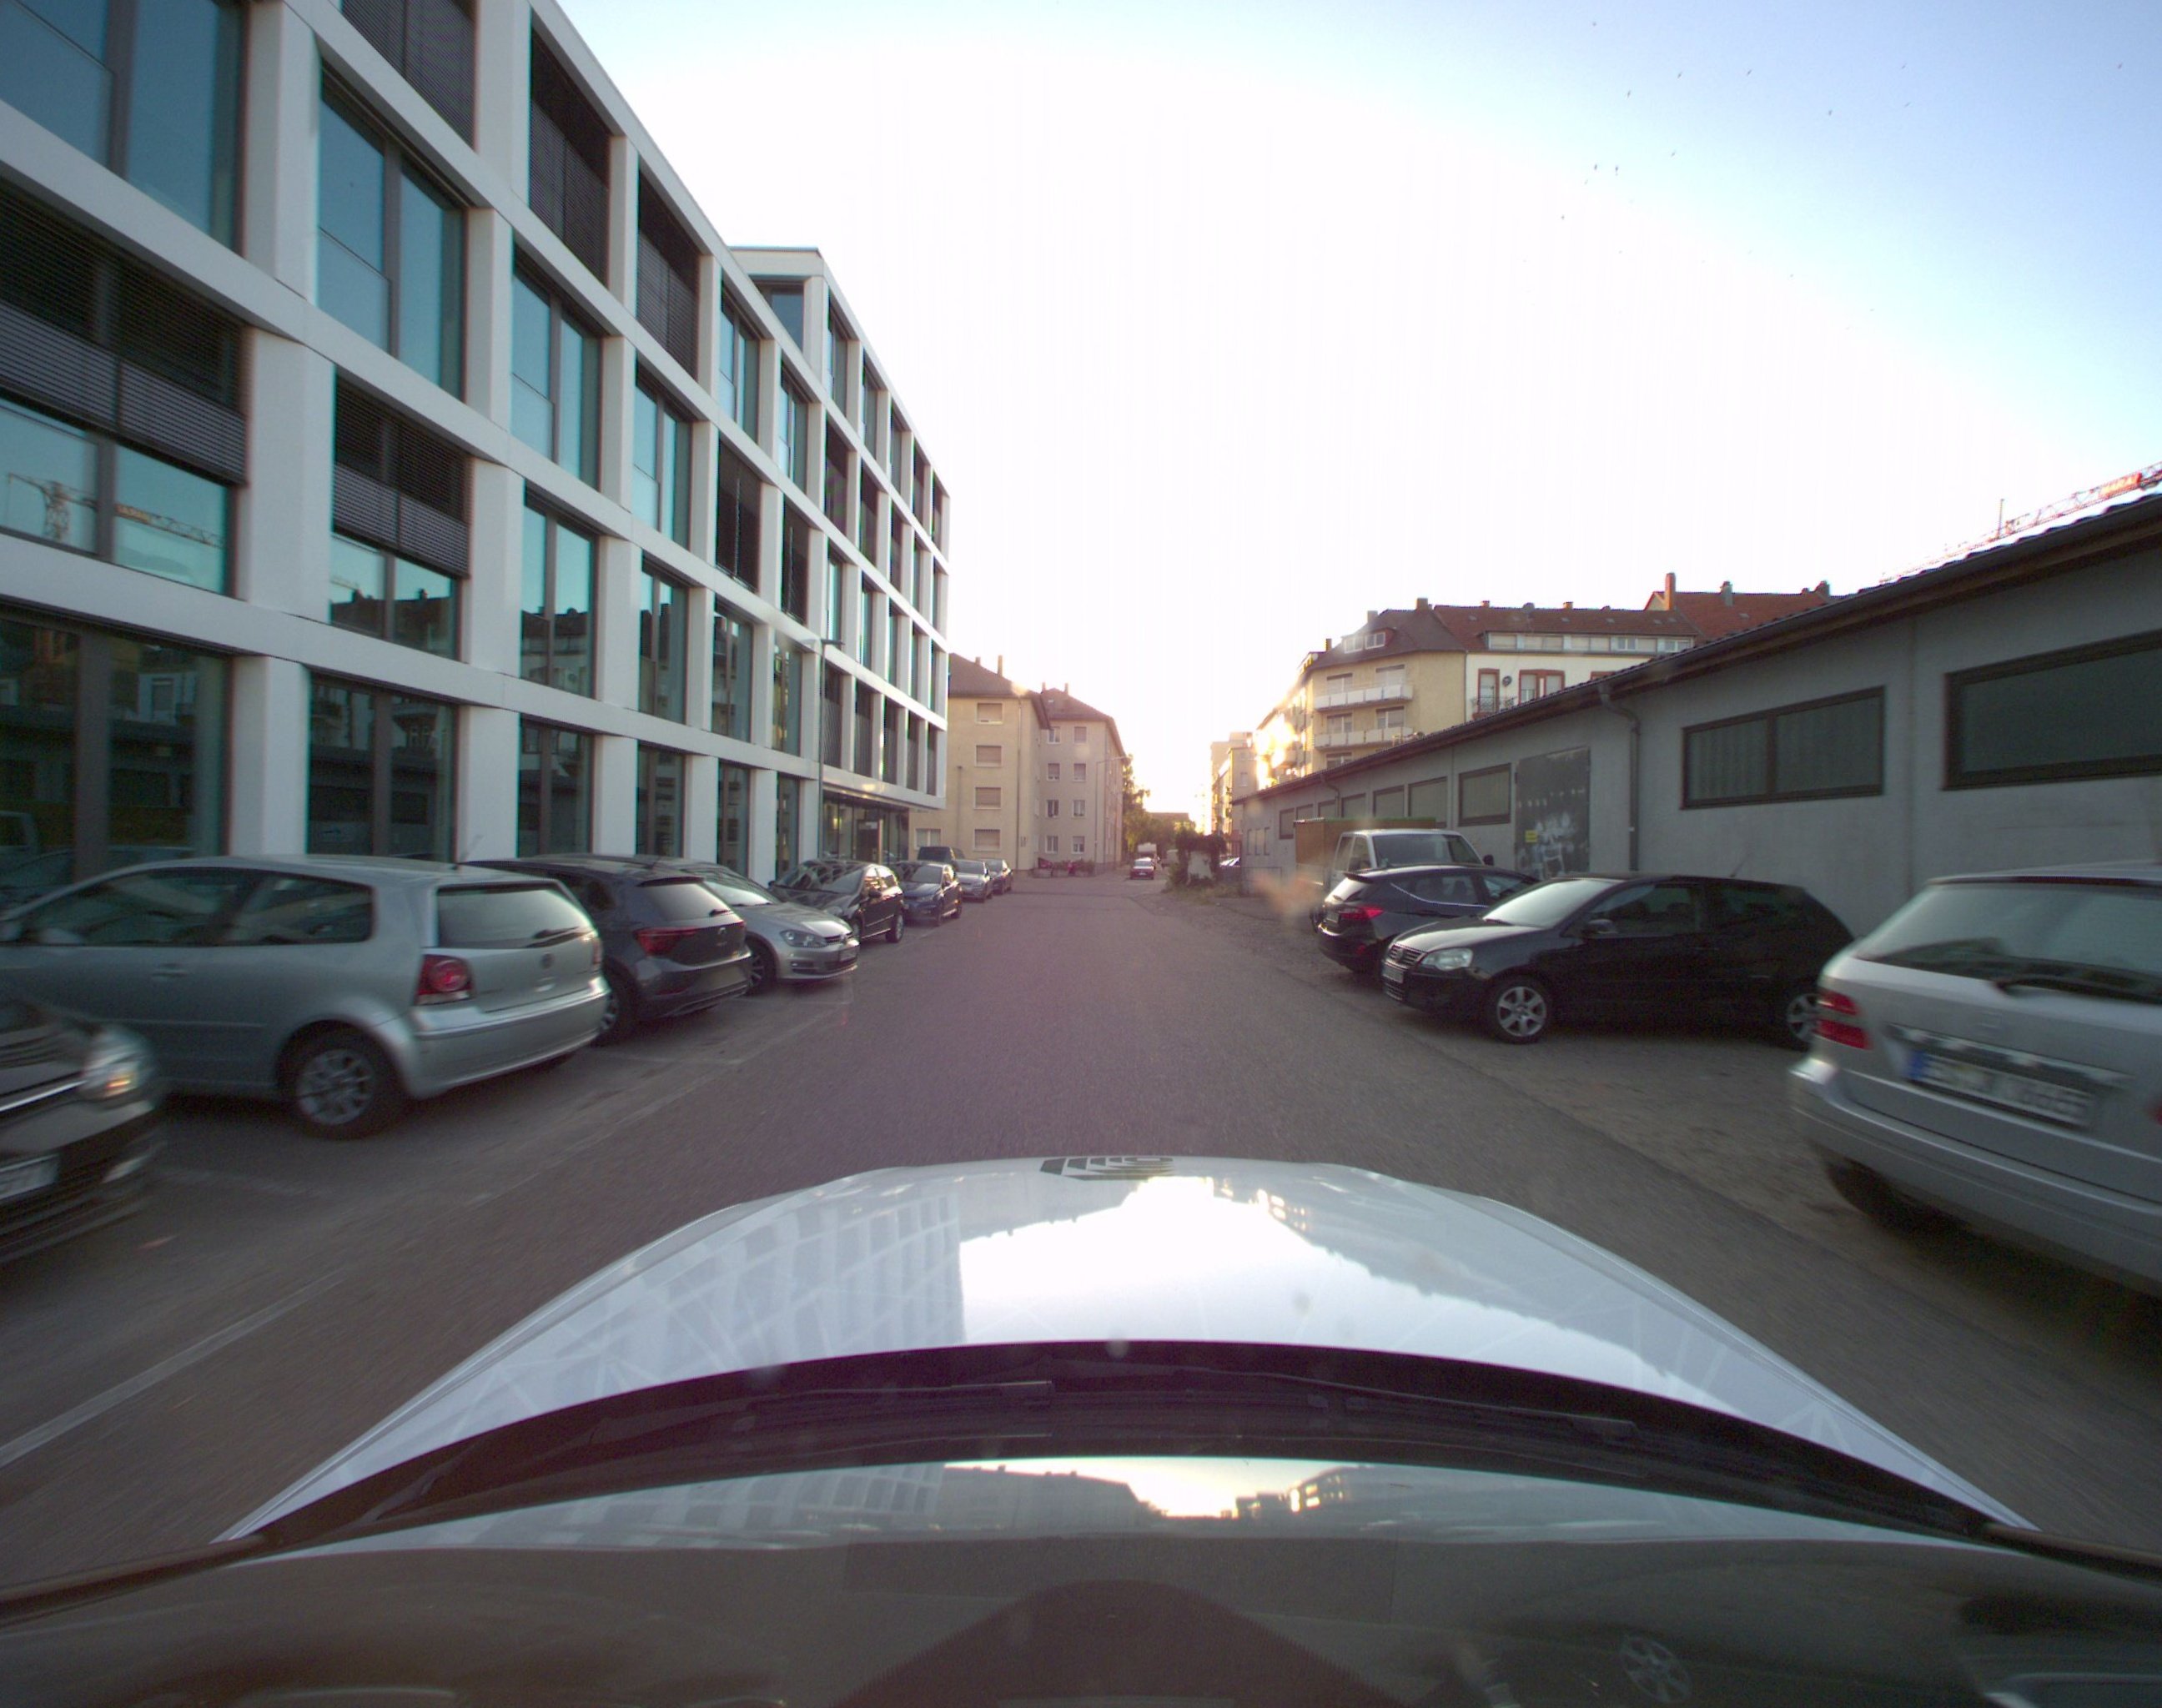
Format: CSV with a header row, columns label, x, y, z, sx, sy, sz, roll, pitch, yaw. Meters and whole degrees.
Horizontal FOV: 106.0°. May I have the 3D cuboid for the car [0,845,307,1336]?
label,x,y,z,sx,sy,sz,roll,pitch,yaw
car,-5.350,0.702,2.700,3.946,1.511,1.798,2,0,4

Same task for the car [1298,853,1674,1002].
label,x,y,z,sx,sy,sz,roll,pitch,yaw
car,4.801,0.822,10.134,3.744,1.535,1.893,2,1,3

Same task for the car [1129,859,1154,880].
label,x,y,z,sx,sy,sz,roll,pitch,yaw
car,4.548,1.126,61.355,1.837,1.473,4.082,1,0,4

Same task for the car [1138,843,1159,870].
label,x,y,z,sx,sy,sz,roll,pitch,yaw
car,8.881,0.338,106.690,2.607,3.269,7.708,-1,0,6

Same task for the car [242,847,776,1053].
label,x,y,z,sx,sy,sz,roll,pitch,yaw
car,-4.940,0.754,7.377,3.638,1.511,1.689,2,0,4

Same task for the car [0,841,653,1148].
label,x,y,z,sx,sy,sz,roll,pitch,yaw
car,-5.031,0.726,5.219,3.638,1.511,1.689,2,0,4

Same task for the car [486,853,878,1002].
label,x,y,z,sx,sy,sz,roll,pitch,yaw
car,-4.706,0.806,9.949,3.908,1.511,1.690,2,0,4

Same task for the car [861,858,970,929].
label,x,y,z,sx,sy,sz,roll,pitch,yaw
car,-3.909,0.872,19.949,1.642,1.438,4.185,4,0,1

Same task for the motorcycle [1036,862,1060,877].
label,x,y,z,sx,sy,sz,roll,pitch,yaw
motorcycle,-2.315,1.084,57.199,0.717,1.079,2.093,1,0,26

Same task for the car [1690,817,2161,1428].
label,x,y,z,sx,sy,sz,roll,pitch,yaw
car,4.865,0.767,2.880,3.970,1.609,1.939,2,0,0

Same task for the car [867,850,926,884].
label,x,y,z,sx,sy,sz,roll,pitch,yaw
car,-9.080,0.701,40.443,1.773,1.550,4.332,1,-2,2

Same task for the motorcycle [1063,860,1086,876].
label,x,y,z,sx,sy,sz,roll,pitch,yaw
motorcycle,-0.469,0.994,59.593,0.682,1.160,2.046,1,0,29

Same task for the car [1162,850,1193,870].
label,x,y,z,sx,sy,sz,roll,pitch,yaw
car,13.465,0.810,113.617,2.139,2.717,4.793,-1,-1,-25

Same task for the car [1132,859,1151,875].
label,x,y,z,sx,sy,sz,roll,pitch,yaw
car,5.485,1.170,74.164,1.609,1.473,3.508,-1,0,4

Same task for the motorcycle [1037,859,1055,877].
label,x,y,z,sx,sy,sz,roll,pitch,yaw
motorcycle,-2.542,0.986,59.505,0.718,1.264,2.089,1,0,16

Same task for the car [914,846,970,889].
label,x,y,z,sx,sy,sz,roll,pitch,yaw
car,-6.827,0.591,40.424,1.791,1.979,4.691,1,1,2

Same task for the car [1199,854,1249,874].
label,x,y,z,sx,sy,sz,roll,pitch,yaw
car,14.298,1.034,81.760,4.700,1.909,2.061,-1,-1,4

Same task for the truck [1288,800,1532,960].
label,x,y,z,sx,sy,sz,roll,pitch,yaw
truck,5.291,0.371,14.161,2.090,2.200,5.713,1,0,2

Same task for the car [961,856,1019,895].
label,x,y,z,sx,sy,sz,roll,pitch,yaw
car,-3.893,0.876,35.477,1.773,1.479,4.333,4,0,2

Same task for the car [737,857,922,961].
label,x,y,z,sx,sy,sz,roll,pitch,yaw
car,-4.177,0.824,14.291,1.641,1.438,4.205,4,0,3

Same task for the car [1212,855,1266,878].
label,x,y,z,sx,sy,sz,roll,pitch,yaw
car,13.061,1.017,67.423,4.259,1.860,1.744,1,-1,5

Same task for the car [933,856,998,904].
label,x,y,z,sx,sy,sz,roll,pitch,yaw
car,-4.092,0.883,29.413,1.705,1.479,4.183,4,0,-1

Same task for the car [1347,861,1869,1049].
label,x,y,z,sx,sy,sz,roll,pitch,yaw
car,4.680,0.851,7.688,3.746,1.444,1.845,2,-1,0
